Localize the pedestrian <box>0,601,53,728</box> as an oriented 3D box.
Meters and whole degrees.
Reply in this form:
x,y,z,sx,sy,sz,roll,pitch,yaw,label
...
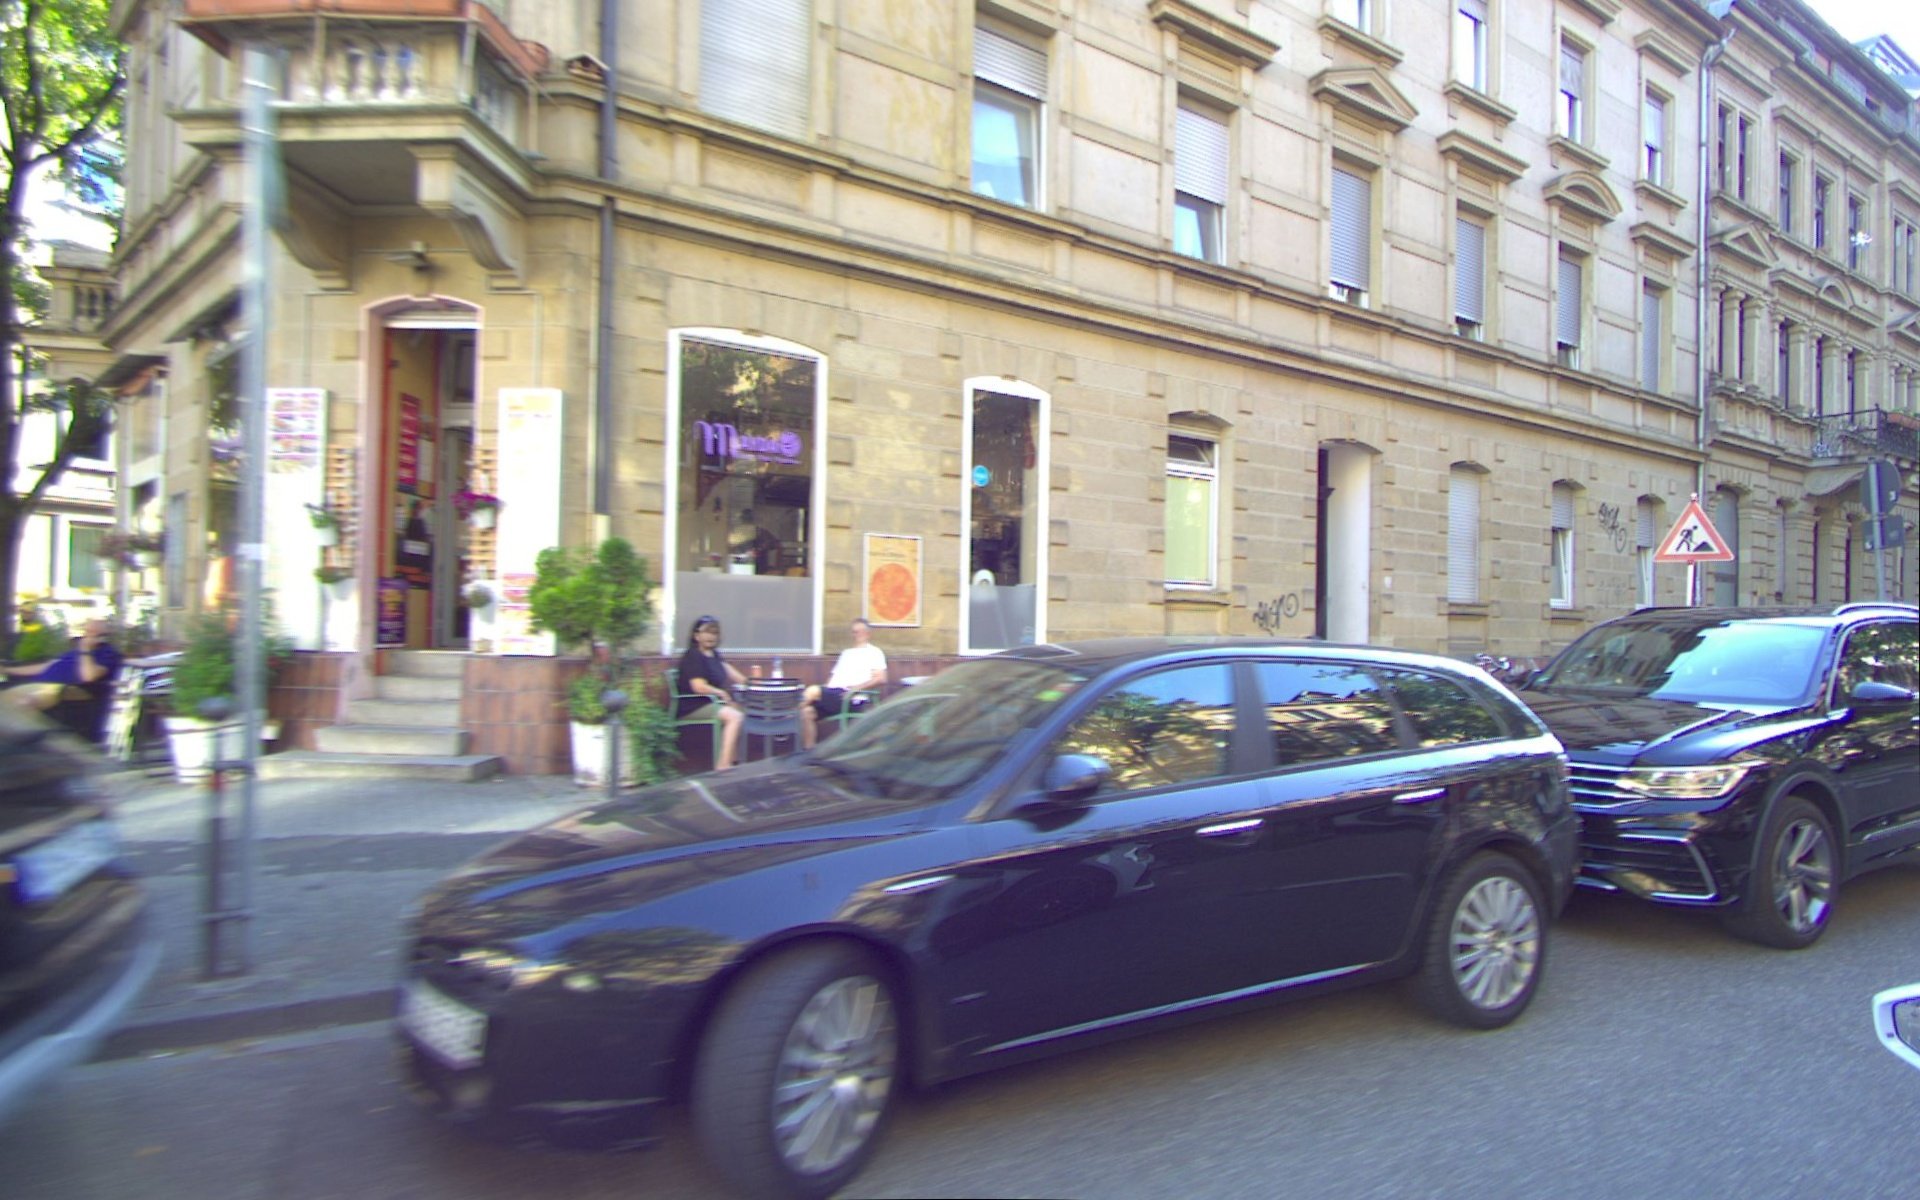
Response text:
x,y,z,sx,sy,sz,roll,pitch,yaw,label
-11.021,0.740,11.839,0.478,1.450,0.562,1,-1,-42,pedestrian

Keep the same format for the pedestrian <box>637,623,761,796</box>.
x,y,z,sx,sy,sz,roll,pitch,yaw,label
-2.078,0.828,7.975,0.749,1.275,0.721,2,-1,-34,pedestrian

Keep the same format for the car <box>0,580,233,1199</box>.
x,y,z,sx,sy,sz,roll,pitch,yaw,label
-3.889,0.689,1.640,4.085,1.507,1.753,2,-2,-27,car

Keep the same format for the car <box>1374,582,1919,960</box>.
x,y,z,sx,sy,sz,roll,pitch,yaw,label
4.810,0.801,6.160,4.493,1.621,1.752,1,-2,-28,car

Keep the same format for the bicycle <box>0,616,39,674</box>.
x,y,z,sx,sy,sz,roll,pitch,yaw,label
-21.276,0.940,21.780,3.077,1.196,0.751,0,-1,24,bicycle

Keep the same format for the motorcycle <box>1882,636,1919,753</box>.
x,y,z,sx,sy,sz,roll,pitch,yaw,label
12.612,1.160,12.541,2.580,1.388,1.059,1,-1,-34,motorcycle

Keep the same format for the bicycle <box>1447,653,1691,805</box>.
x,y,z,sx,sy,sz,roll,pitch,yaw,label
5.475,1.107,9.159,0.522,1.143,1.858,2,0,-31,bicycle

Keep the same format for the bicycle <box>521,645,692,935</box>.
x,y,z,sx,sy,sz,roll,pitch,yaw,label
-1.895,0.852,5.220,0.522,1.143,1.859,2,0,-29,bicycle

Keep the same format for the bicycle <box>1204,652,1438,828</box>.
x,y,z,sx,sy,sz,roll,pitch,yaw,label
2.806,1.037,8.031,0.522,1.143,1.859,2,0,-29,bicycle

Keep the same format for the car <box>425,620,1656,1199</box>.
x,y,z,sx,sy,sz,roll,pitch,yaw,label
0.495,0.866,3.947,4.491,1.470,1.753,2,-2,-27,car

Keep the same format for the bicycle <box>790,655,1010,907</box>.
x,y,z,sx,sy,sz,roll,pitch,yaw,label
-0.427,0.948,5.915,0.522,1.143,1.859,2,0,-29,bicycle

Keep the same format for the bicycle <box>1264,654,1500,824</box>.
x,y,z,sx,sy,sz,roll,pitch,yaw,label
3.414,1.069,8.314,0.522,1.143,1.859,2,0,-29,bicycle

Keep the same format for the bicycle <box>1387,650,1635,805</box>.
x,y,z,sx,sy,sz,roll,pitch,yaw,label
4.827,1.070,8.866,1.843,1.143,0.526,2,0,36,bicycle

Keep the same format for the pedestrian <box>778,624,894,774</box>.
x,y,z,sx,sy,sz,roll,pitch,yaw,label
-1.092,0.832,8.800,0.749,1.230,0.721,2,-1,-34,pedestrian

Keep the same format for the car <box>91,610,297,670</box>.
x,y,z,sx,sy,sz,roll,pitch,yaw,label
-19.479,0.991,25.721,1.892,1.394,3.750,0,-2,24,car

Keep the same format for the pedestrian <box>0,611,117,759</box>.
x,y,z,sx,sy,sz,roll,pitch,yaw,label
-8.073,0.725,8.927,0.716,1.230,0.753,0,-1,39,pedestrian

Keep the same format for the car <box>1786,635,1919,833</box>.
x,y,z,sx,sy,sz,roll,pitch,yaw,label
9.135,1.066,8.667,4.010,1.520,1.751,1,-2,-29,car

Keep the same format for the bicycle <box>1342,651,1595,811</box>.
x,y,z,sx,sy,sz,roll,pitch,yaw,label
4.300,1.059,8.575,1.843,1.143,0.526,2,0,36,bicycle
